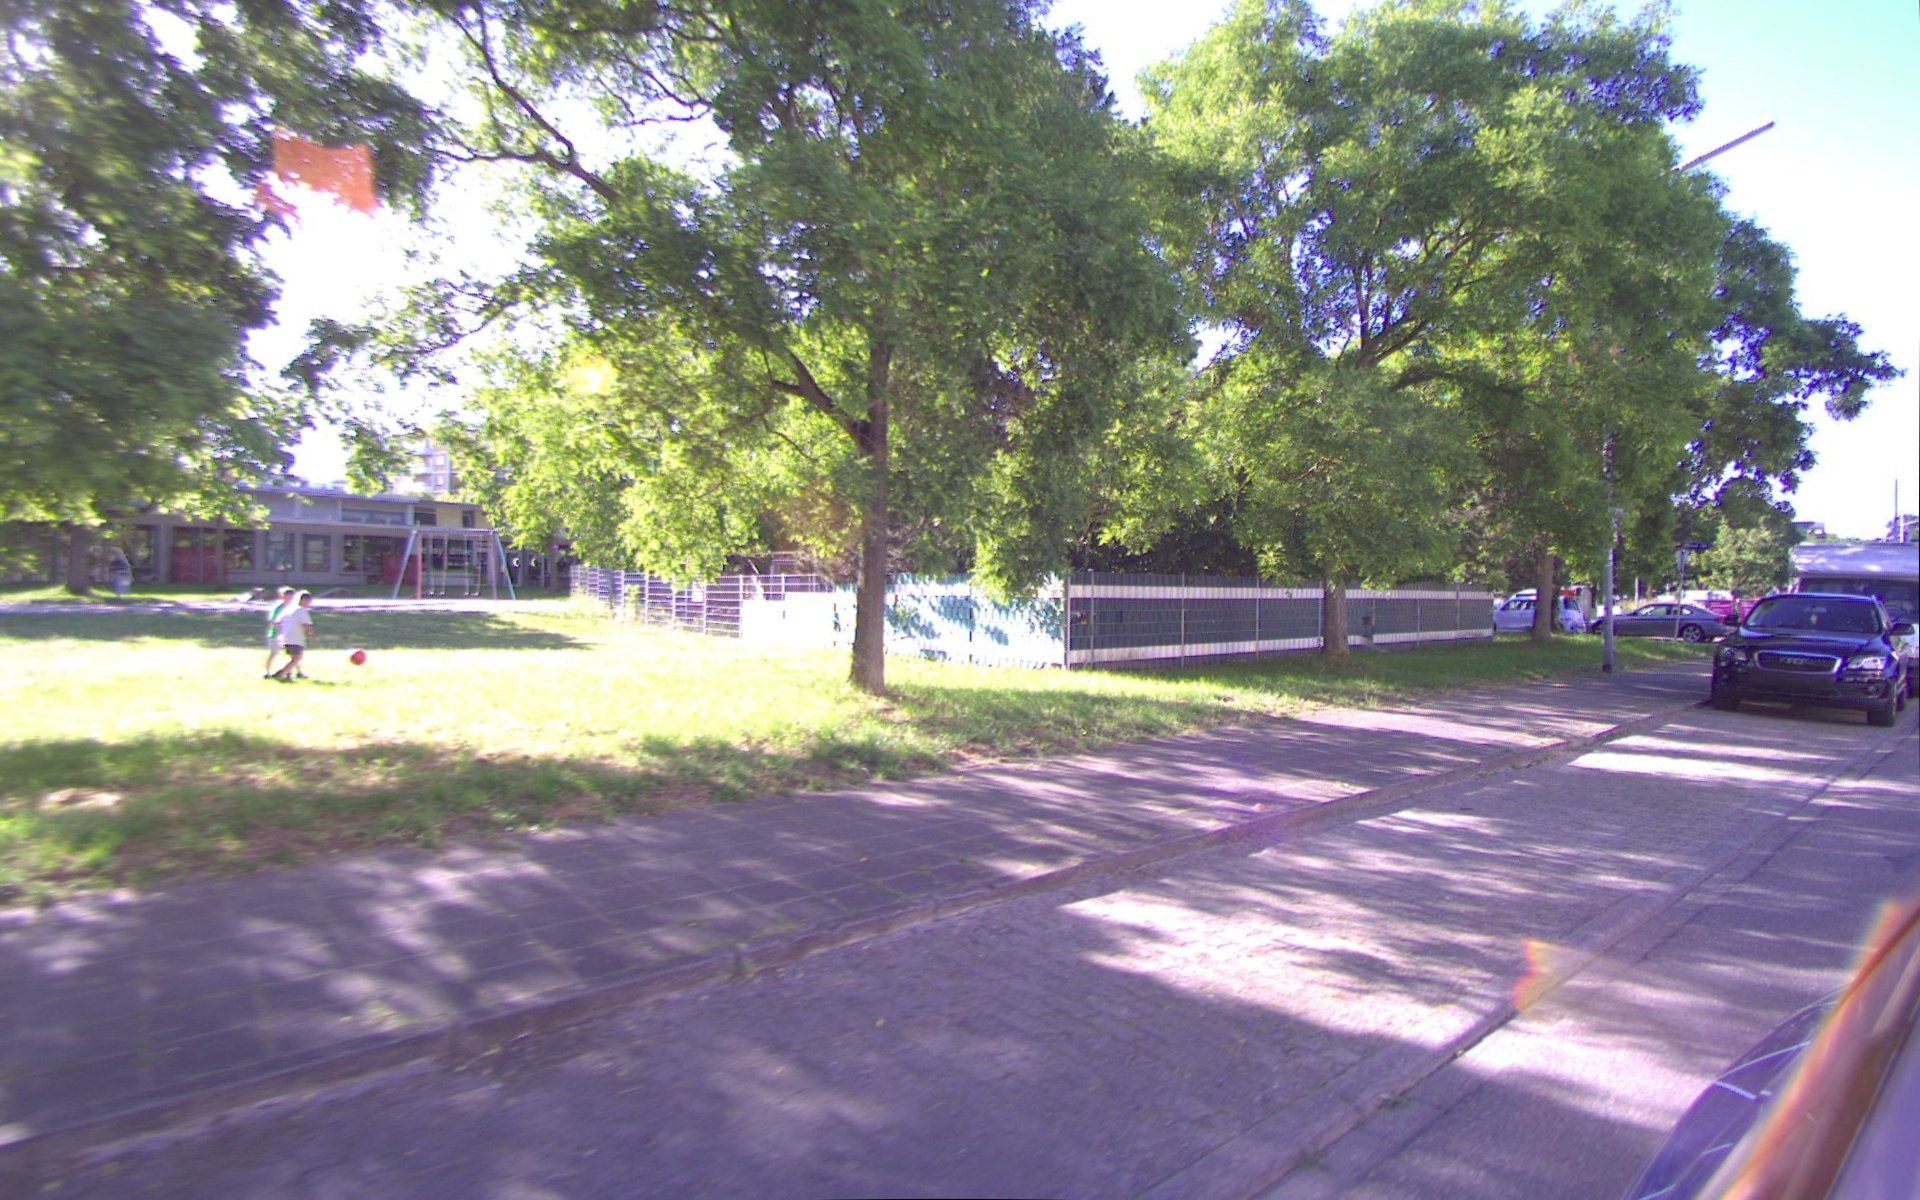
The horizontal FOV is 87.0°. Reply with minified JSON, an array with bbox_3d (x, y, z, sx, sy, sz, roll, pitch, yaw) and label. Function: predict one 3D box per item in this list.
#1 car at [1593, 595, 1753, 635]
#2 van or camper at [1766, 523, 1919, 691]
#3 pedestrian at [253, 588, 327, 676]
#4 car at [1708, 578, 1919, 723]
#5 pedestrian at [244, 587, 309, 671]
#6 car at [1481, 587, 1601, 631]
[{"bbox_3d":[25.520,0.525,36.359,1.714,1.354,4.434,2,-1,-39],"label":"car"},{"bbox_3d":[17.098,0.064,18.739,6.317,2.628,2.356,0,4,-43],"label":"van or camper"},{"bbox_3d":[-8.776,0.411,13.275,0.689,1.102,0.725,1,1,-25],"label":"pedestrian"},{"bbox_3d":[12.183,0.575,14.214,4.462,1.660,1.995,0,2,-45],"label":"car"},{"bbox_3d":[-9.418,0.385,13.950,0.629,1.102,0.503,2,1,29],"label":"pedestrian"},{"bbox_3d":[22.850,0.322,39.876,1.794,1.598,3.695,0,1,-36],"label":"car"}]
